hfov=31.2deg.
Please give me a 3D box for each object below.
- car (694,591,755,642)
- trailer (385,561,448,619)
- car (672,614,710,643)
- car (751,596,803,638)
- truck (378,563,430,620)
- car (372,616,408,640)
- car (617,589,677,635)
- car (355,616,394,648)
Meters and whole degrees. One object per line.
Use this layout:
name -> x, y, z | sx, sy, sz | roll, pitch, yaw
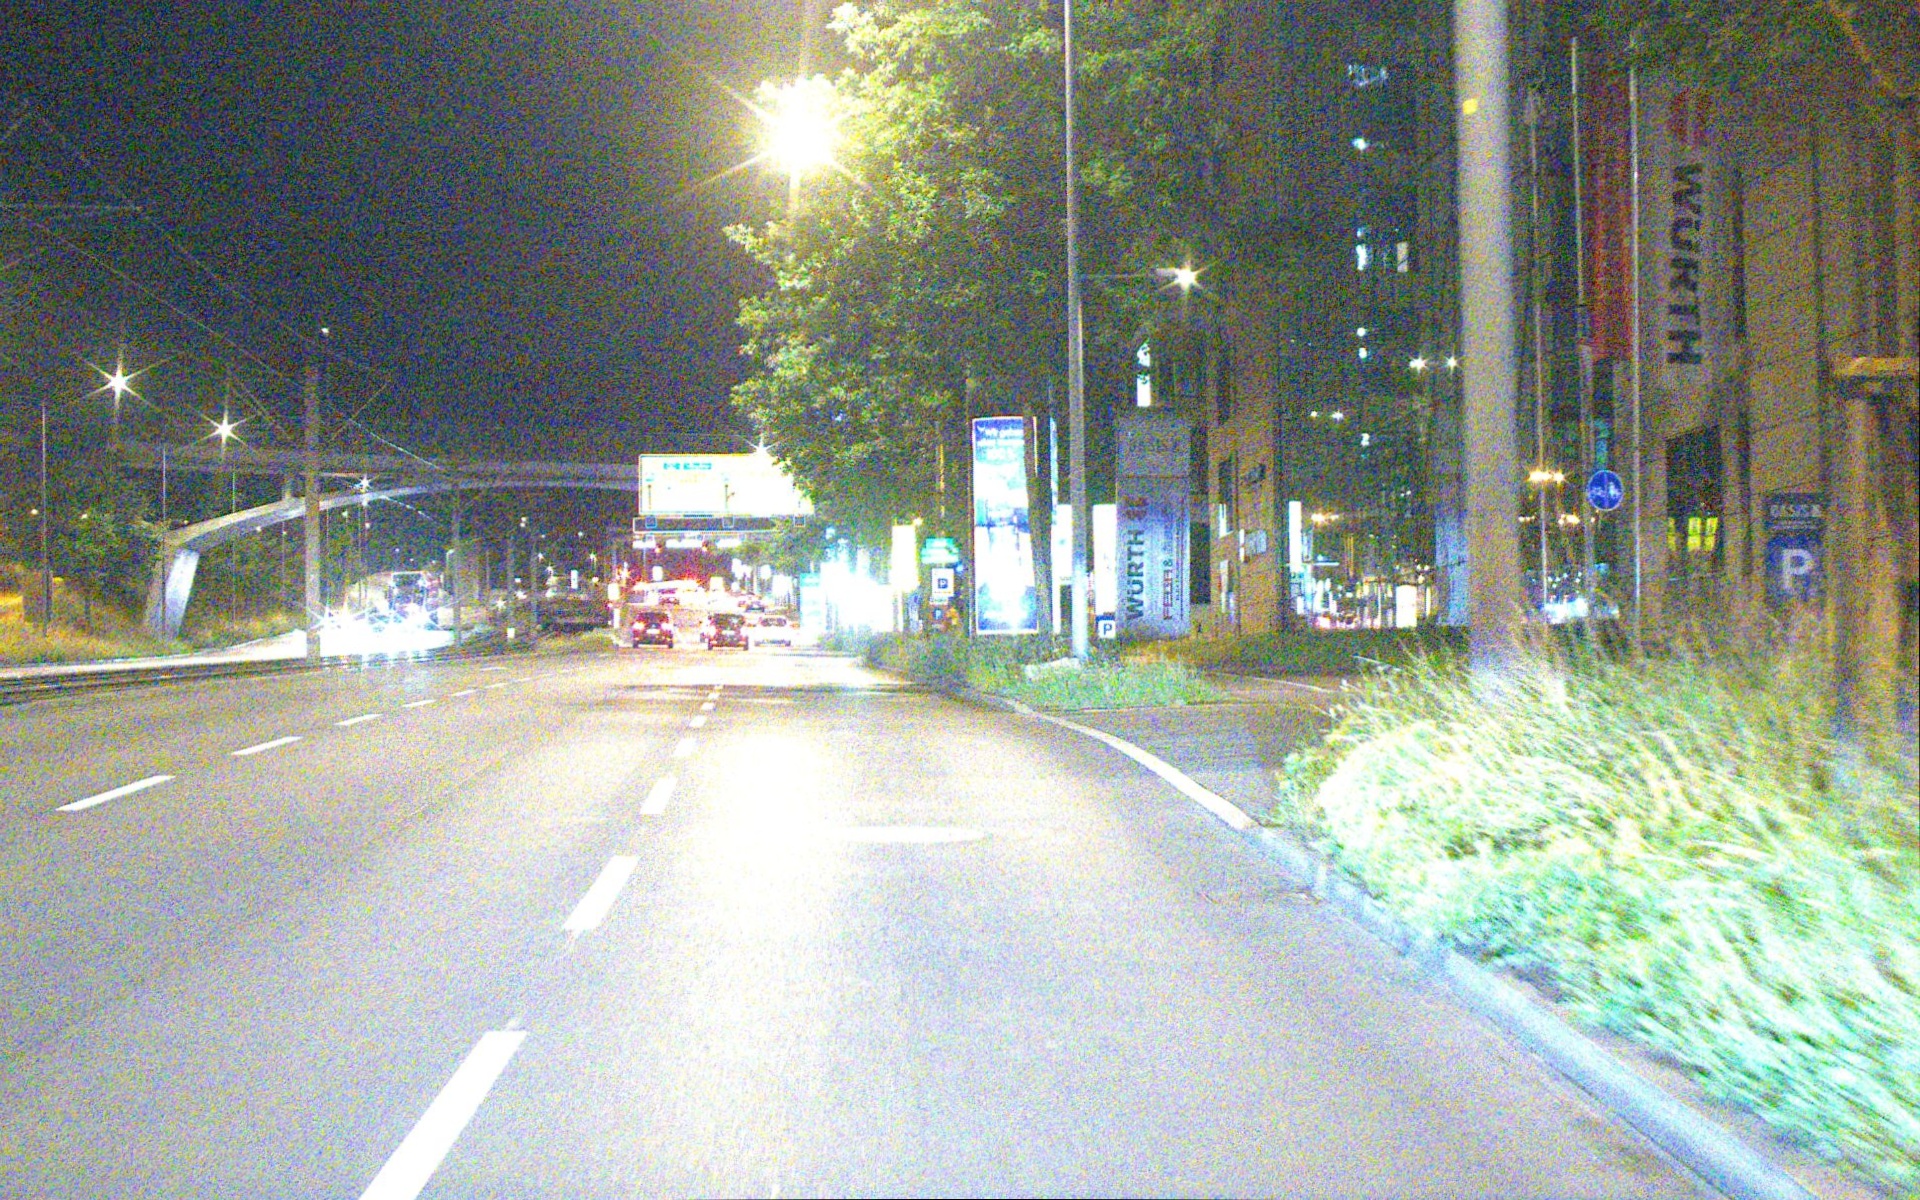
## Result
car -> -10.157, 0.703, 148.526 | 2.356, 2.122, 4.826 | 0, 0, 0
trailer -> -38.315, -0.732, 242.802 | 2.993, 3.987, 13.956 | 0, 0, -3
car -> -14.775, 1.560, 188.859 | 1.993, 1.548, 4.000 | 0, 0, -3
car -> -9.285, 0.856, 174.734 | 2.427, 2.106, 4.826 | 0, 0, 0
truck -> -37.794, -0.575, 233.821 | 3.040, 3.806, 4.935 | 0, 0, -3
car -> -36.185, 1.777, 218.393 | 1.910, 1.469, 3.772 | 0, 0, -4
car -> -13.914, 0.509, 153.228 | 2.262, 2.007, 4.826 | 0, 0, 0
car -> -33.311, 1.806, 195.671 | 1.863, 1.744, 3.702 | 0, 0, -4
